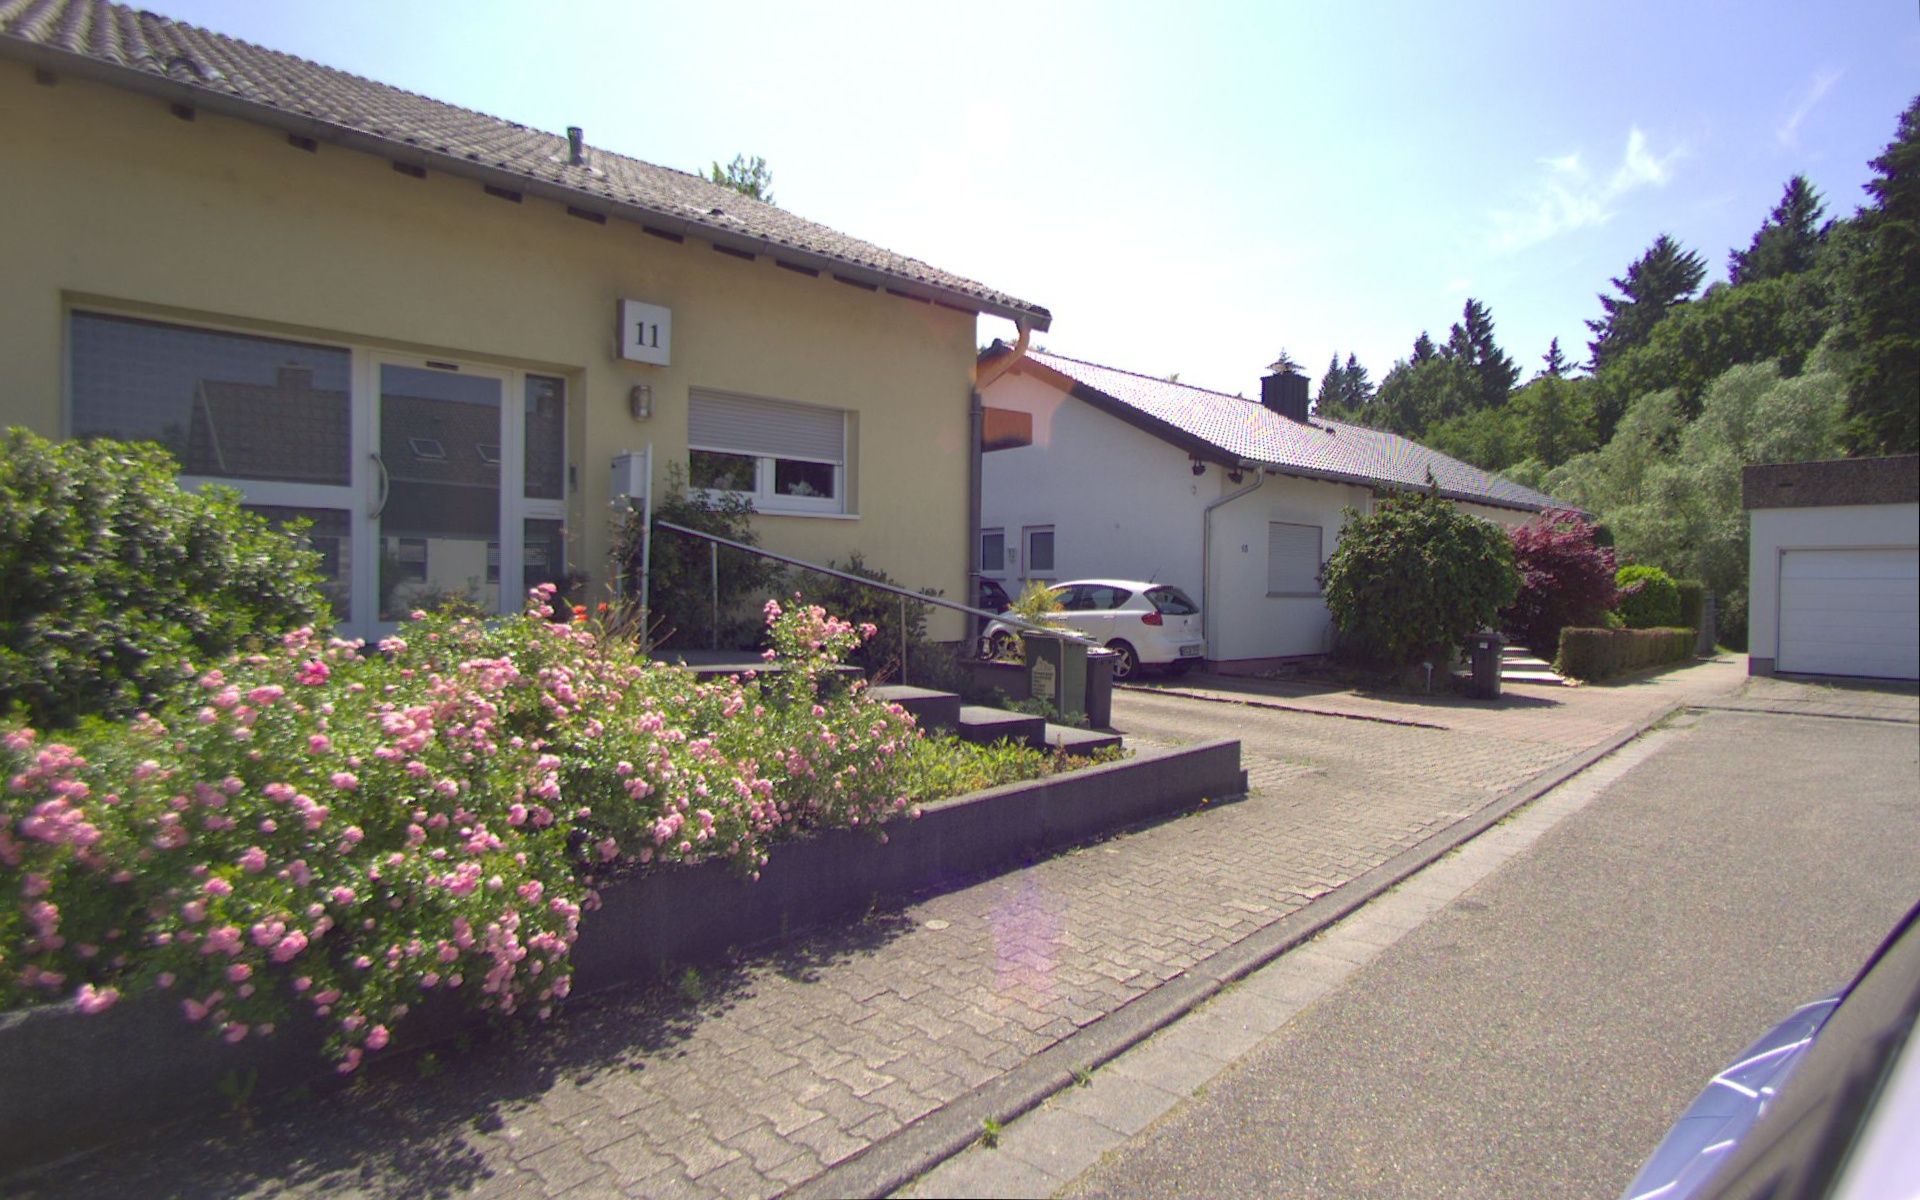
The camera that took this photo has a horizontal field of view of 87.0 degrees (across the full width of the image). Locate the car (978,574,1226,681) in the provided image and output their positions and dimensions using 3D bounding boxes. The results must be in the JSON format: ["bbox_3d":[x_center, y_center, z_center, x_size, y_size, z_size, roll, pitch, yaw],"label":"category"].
[{"bbox_3d":[2.313,0.372,17.217,1.723,1.588,3.991,0,1,-44],"label":"car"}]

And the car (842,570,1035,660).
[{"bbox_3d":[-0.531,0.222,20.785,1.895,1.627,3.995,-1,2,-40],"label":"car"}]

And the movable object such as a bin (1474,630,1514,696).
[{"bbox_3d":[7.568,0.884,14.341,0.369,0.902,0.390,-1,1,-42],"label":"movable object such as a bin"}]

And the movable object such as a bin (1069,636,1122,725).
[{"bbox_3d":[1.471,0.858,10.963,0.425,0.902,0.401,1,1,42],"label":"movable object such as a bin"}]

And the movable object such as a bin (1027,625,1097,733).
[{"bbox_3d":[1.071,0.813,10.617,0.490,1.054,0.584,1,1,42],"label":"movable object such as a bin"}]
